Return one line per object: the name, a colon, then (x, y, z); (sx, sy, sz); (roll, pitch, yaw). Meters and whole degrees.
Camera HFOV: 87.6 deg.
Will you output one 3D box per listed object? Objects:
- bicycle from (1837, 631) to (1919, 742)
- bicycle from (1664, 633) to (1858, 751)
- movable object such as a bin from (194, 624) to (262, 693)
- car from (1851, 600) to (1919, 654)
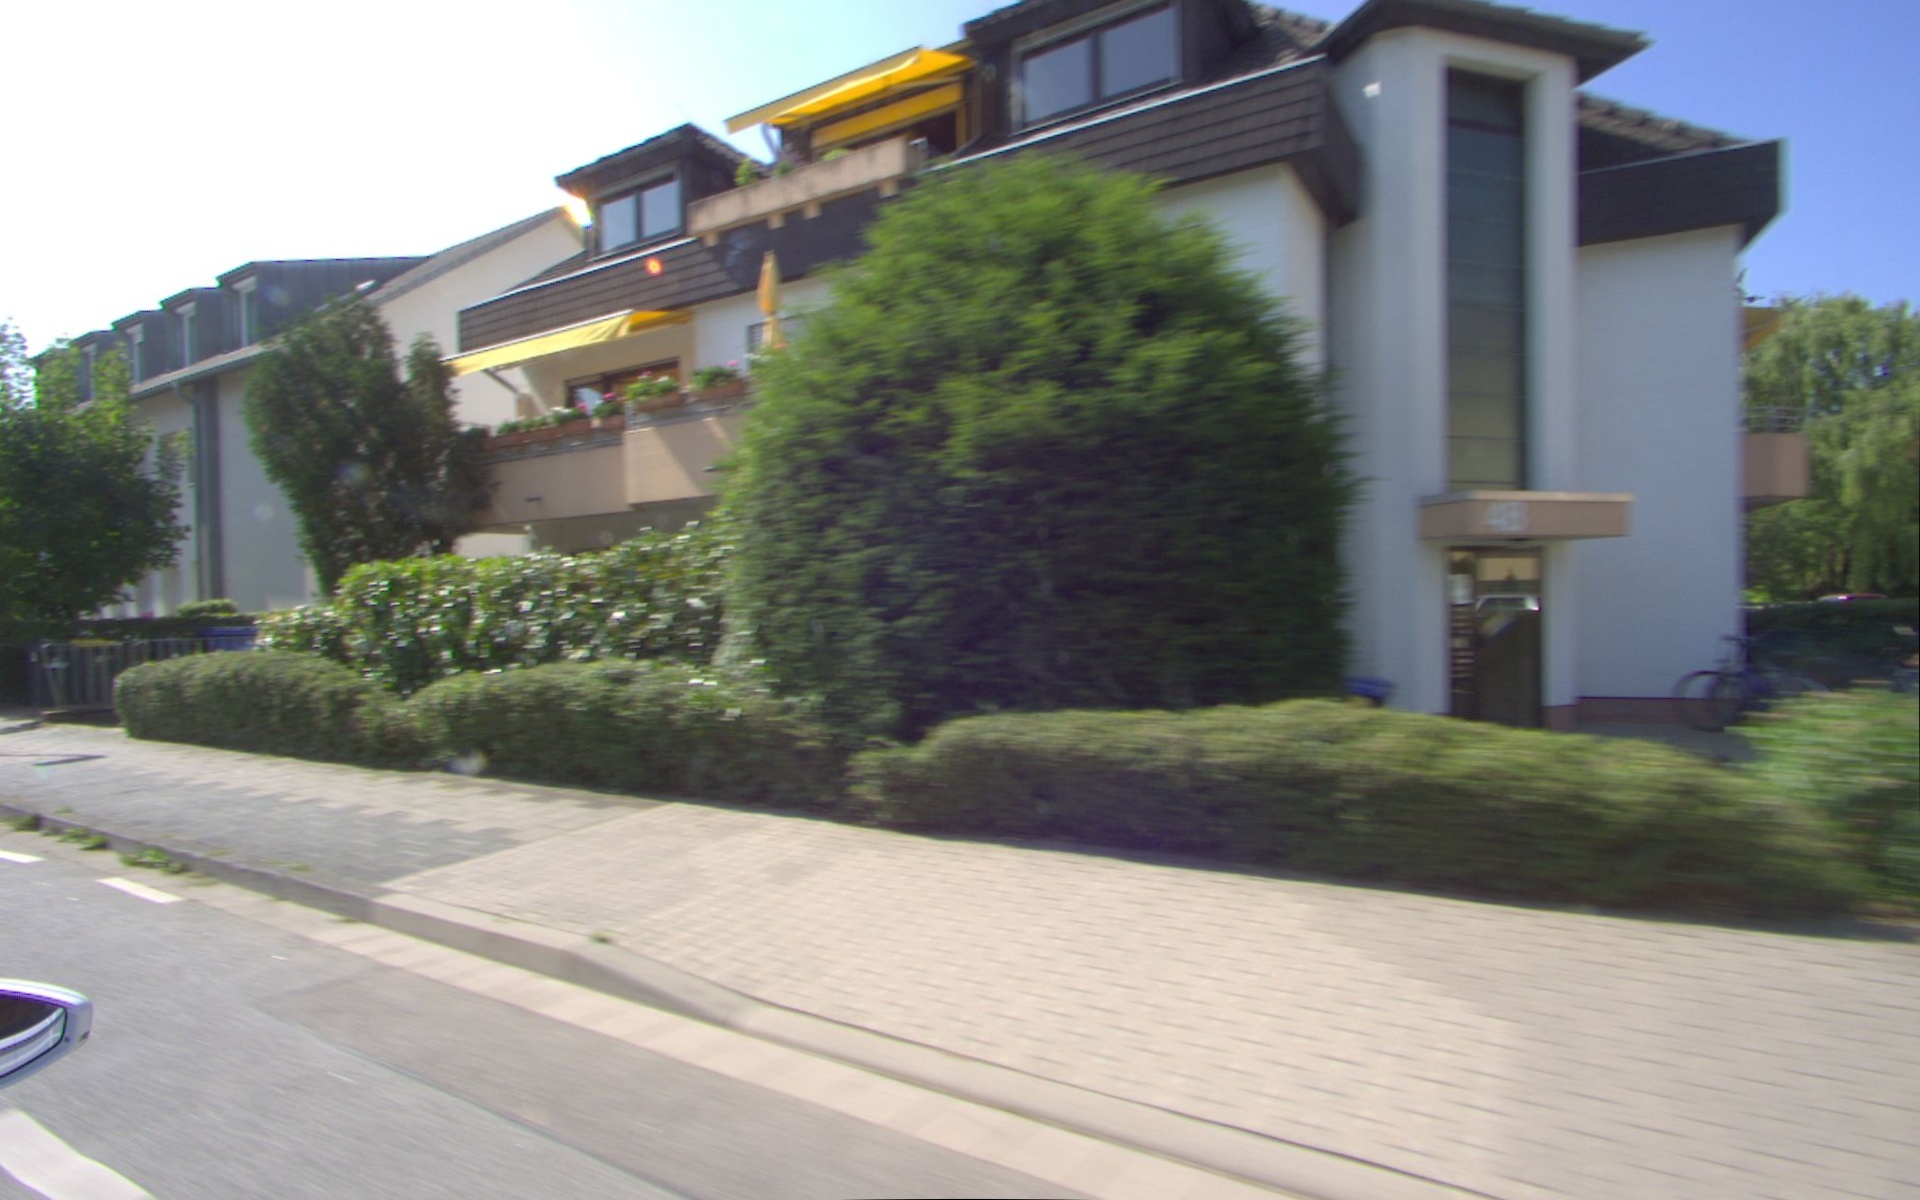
bicycle: (10.286, 0.919, 10.372); (0.620, 1.110, 1.820); (-2, 1, -10)
bicycle: (8.760, 0.966, 11.047); (0.620, 1.110, 1.684); (-2, 1, -10)
movable object such as a bin: (-13.858, 1.100, 18.964); (0.781, 1.260, 0.745); (-1, 0, 28)
car: (29.734, 0.801, 31.188); (1.781, 1.588, 3.989); (-2, -1, 24)
